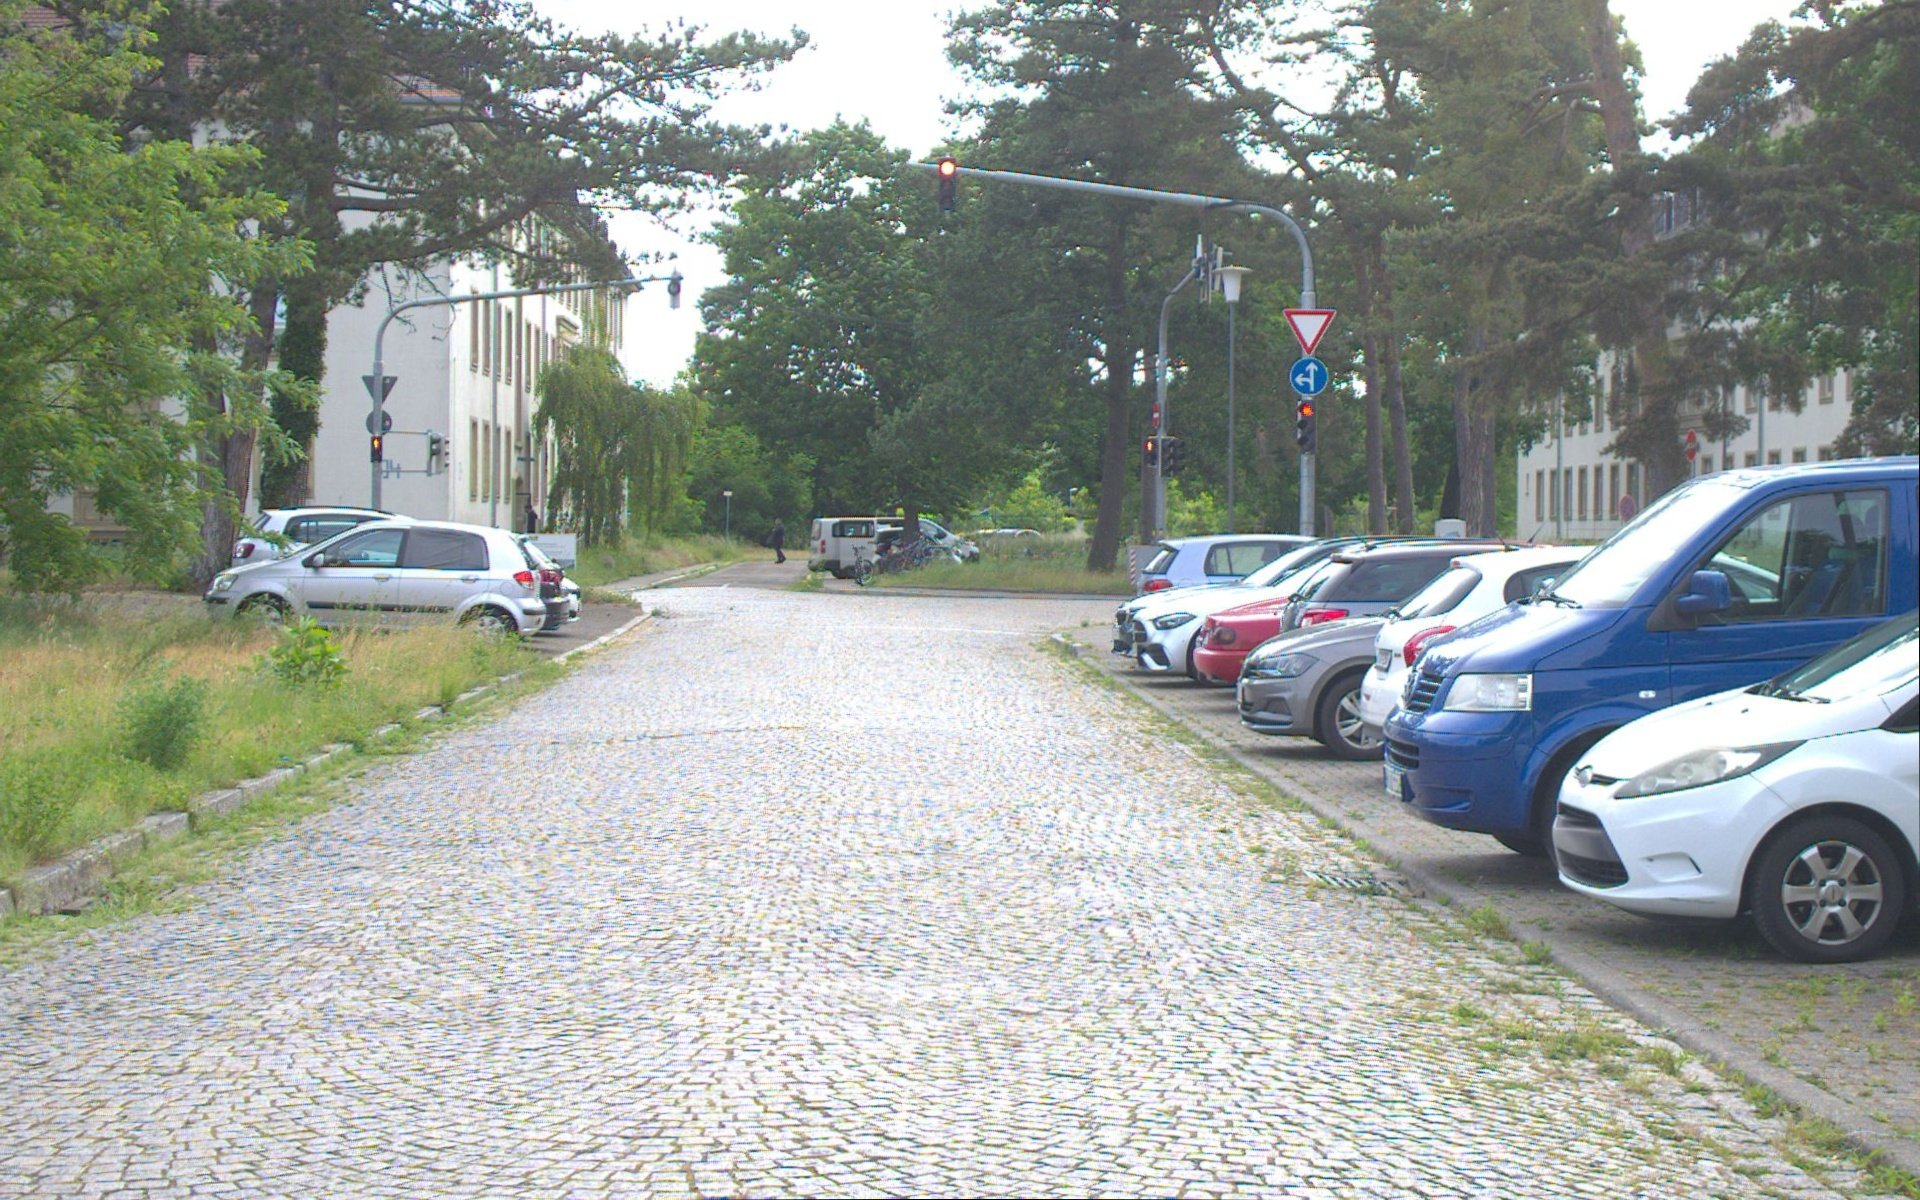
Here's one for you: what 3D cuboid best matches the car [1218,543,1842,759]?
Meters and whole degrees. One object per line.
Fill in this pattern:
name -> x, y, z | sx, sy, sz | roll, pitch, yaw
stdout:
car -> 3.983, 0.336, 24.481 | 4.130, 1.442, 1.766 | 0, 1, -1

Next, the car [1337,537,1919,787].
car -> 4.310, 0.356, 21.582 | 3.653, 1.473, 1.766 | 0, 1, -2

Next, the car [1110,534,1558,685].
car -> 3.739, 0.070, 34.674 | 4.184, 1.432, 1.756 | 0, 1, -8

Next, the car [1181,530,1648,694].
car -> 4.222, 0.091, 32.322 | 4.104, 1.471, 1.685 | 0, 1, -3

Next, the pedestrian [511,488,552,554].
pedestrian -> -12.987, -2.385, 104.221 | 1.074, 1.952, 1.121 | 2, 1, -1

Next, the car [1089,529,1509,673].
car -> 3.673, -0.015, 37.439 | 4.227, 1.474, 1.710 | -1, 1, -12

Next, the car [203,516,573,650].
car -> -6.842, -0.227, 41.412 | 4.297, 1.548, 1.812 | 0, 1, -7

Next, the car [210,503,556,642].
car -> -7.361, -0.371, 44.203 | 4.297, 1.726, 1.653 | 0, 1, -7

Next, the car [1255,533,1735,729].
car -> 4.198, 0.222, 27.353 | 3.505, 1.482, 1.743 | 0, 1, -2

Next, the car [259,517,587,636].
car -> -7.248, -0.340, 46.662 | 4.297, 1.548, 1.812 | 0, 1, -7

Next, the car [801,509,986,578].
car -> -2.081, -1.764, 106.787 | 5.374, 2.094, 2.179 | 0, 1, -14

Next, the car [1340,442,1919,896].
car -> 4.343, 0.269, 16.269 | 4.795, 1.997, 1.967 | 0, 1, -3

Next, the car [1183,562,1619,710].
car -> 3.792, 0.297, 29.972 | 3.586, 1.218, 1.628 | 0, 1, 0

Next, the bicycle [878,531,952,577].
bicycle -> -1.196, -1.233, 92.004 | 1.881, 1.167, 0.665 | 2, 1, -7

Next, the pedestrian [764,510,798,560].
pedestrian -> -7.113, -2.581, 136.597 | 1.239, 1.952, 1.121 | 2, 1, -7

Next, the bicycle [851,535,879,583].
bicycle -> -2.417, -1.045, 87.343 | 0.663, 1.167, 1.888 | 2, 1, -1

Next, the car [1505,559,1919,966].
car -> 4.396, 0.582, 13.731 | 4.097, 1.473, 1.722 | 0, 1, -4

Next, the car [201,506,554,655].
car -> -6.529, -0.231, 38.821 | 3.720, 1.475, 1.673 | 3, 1, -4

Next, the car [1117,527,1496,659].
car -> 4.000, -0.100, 40.000 | 4.134, 1.458, 1.634 | 0, 1, -7
